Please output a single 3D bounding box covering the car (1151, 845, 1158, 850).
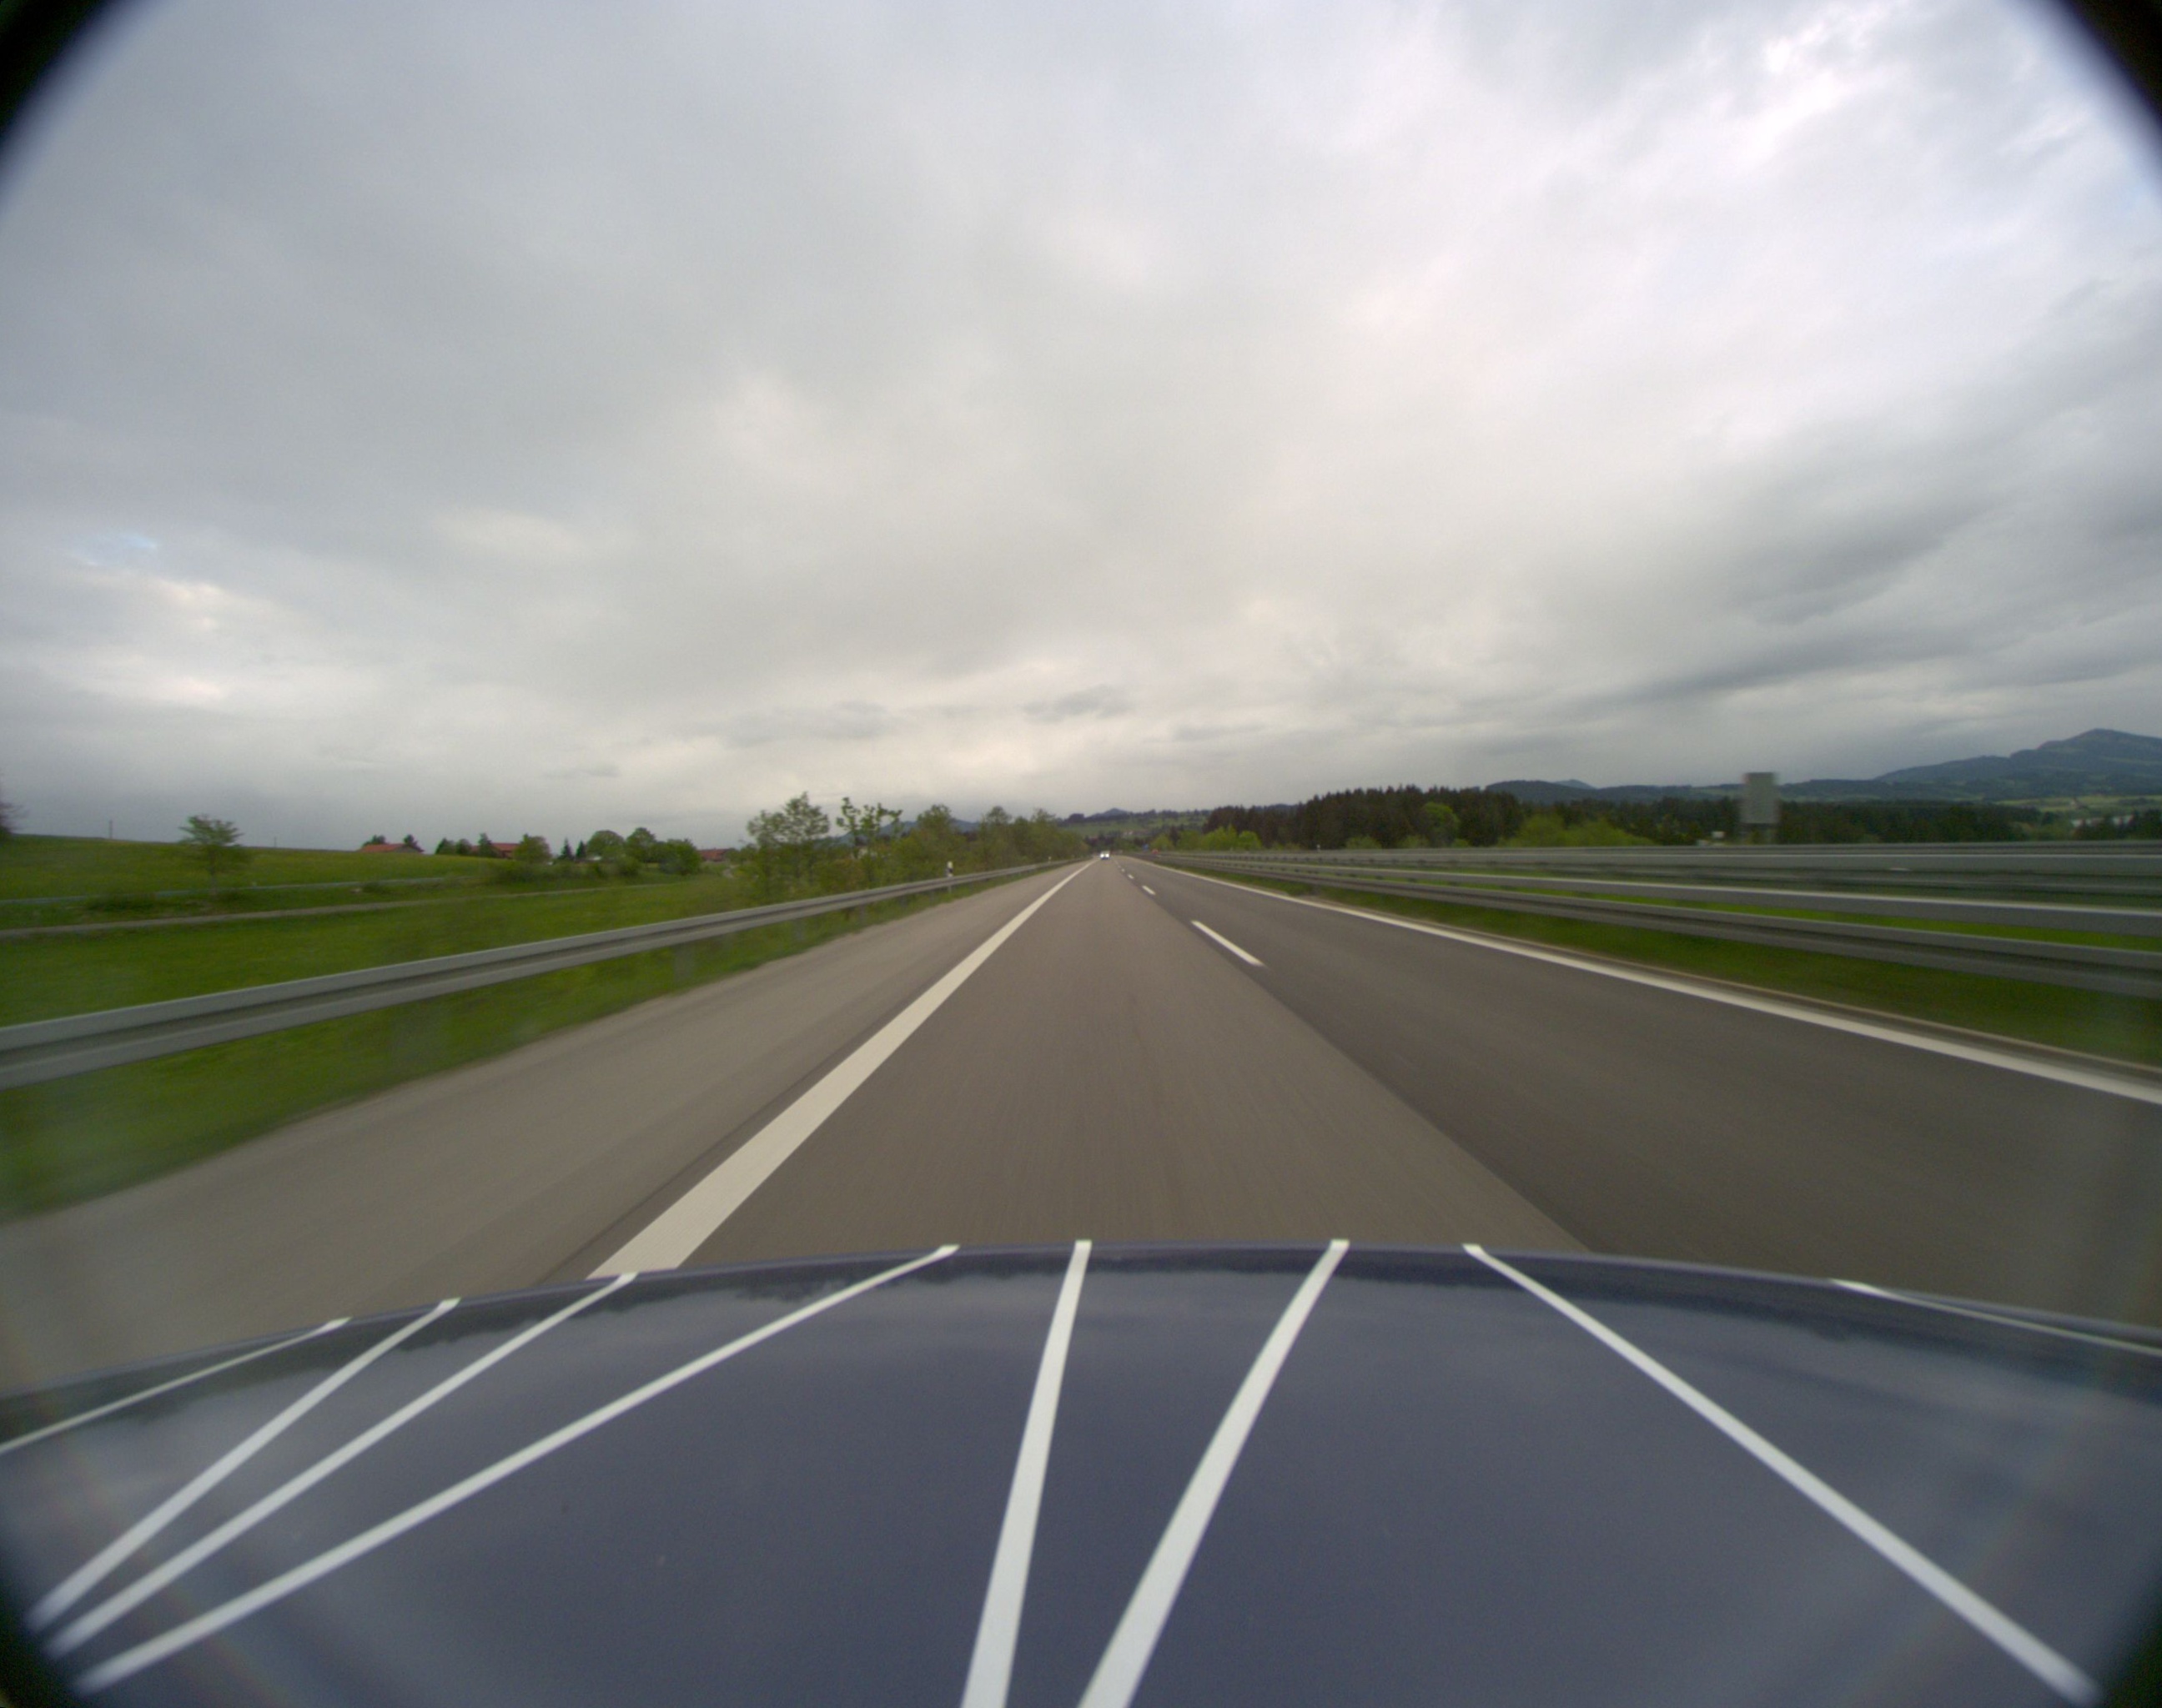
[{"bbox_3d":[24.287,-2.106,251.393,1.998,1.607,4.847,-3,1,1],"label":"car"}]

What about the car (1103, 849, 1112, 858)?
[{"bbox_3d":[5.994,-0.117,172.741,2.021,1.899,4.221,-1,0,2],"label":"car"}]
